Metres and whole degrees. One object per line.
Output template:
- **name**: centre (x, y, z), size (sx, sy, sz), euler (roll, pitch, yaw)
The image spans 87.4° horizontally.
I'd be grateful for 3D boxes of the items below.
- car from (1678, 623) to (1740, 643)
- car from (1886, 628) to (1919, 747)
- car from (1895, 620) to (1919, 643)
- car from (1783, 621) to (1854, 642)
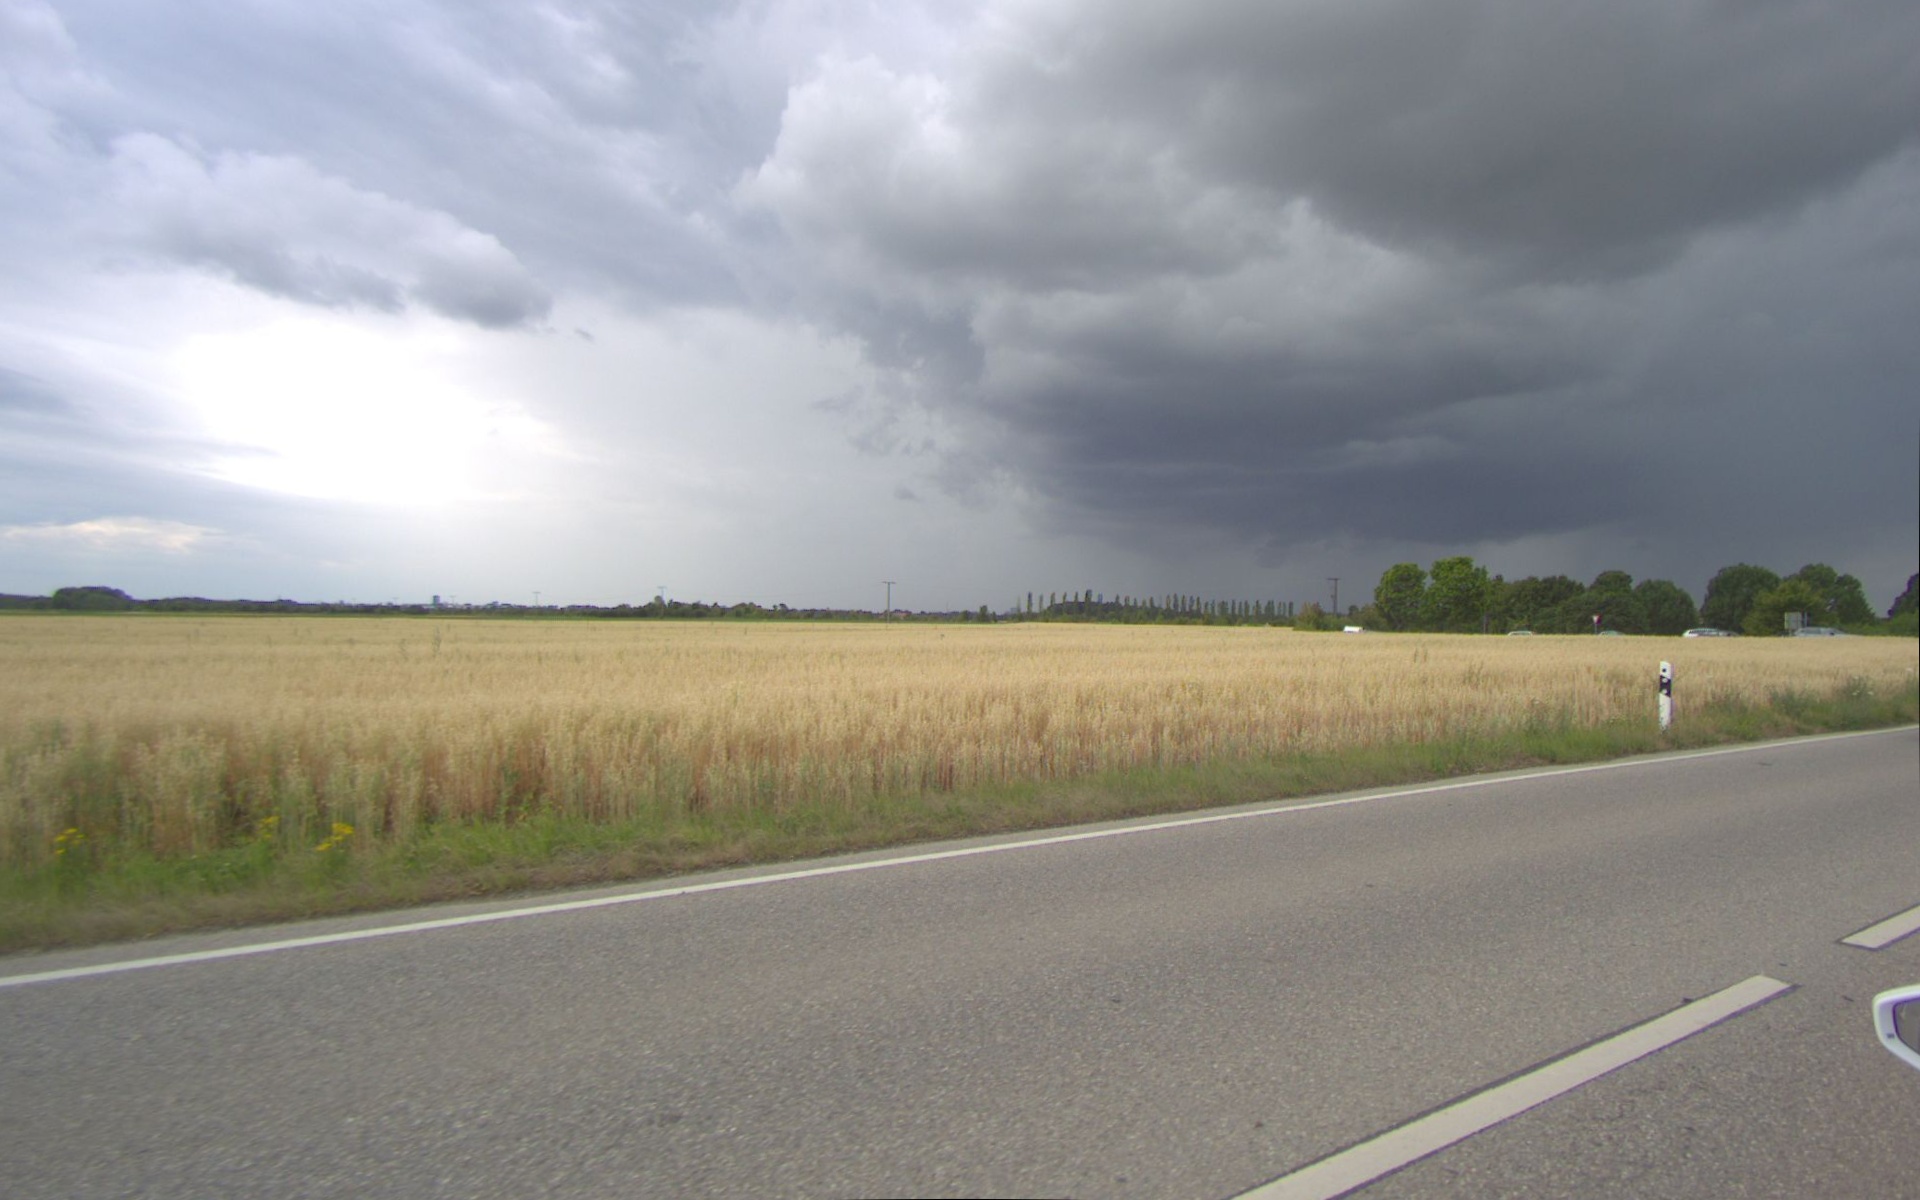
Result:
- **car**: centre (66.213, 2.879, 88.869), size (1.841, 1.671, 4.059), euler (1, -1, -25)
- **car**: centre (15.246, 1.183, 14.092), size (4.710, 1.601, 2.055), euler (1, -3, -31)
- **car**: centre (73.364, 2.367, 74.741), size (1.841, 1.671, 5.292), euler (1, -1, -25)
- **car**: centre (69.799, 2.545, 81.731), size (1.841, 1.671, 4.059), euler (1, -1, -25)
